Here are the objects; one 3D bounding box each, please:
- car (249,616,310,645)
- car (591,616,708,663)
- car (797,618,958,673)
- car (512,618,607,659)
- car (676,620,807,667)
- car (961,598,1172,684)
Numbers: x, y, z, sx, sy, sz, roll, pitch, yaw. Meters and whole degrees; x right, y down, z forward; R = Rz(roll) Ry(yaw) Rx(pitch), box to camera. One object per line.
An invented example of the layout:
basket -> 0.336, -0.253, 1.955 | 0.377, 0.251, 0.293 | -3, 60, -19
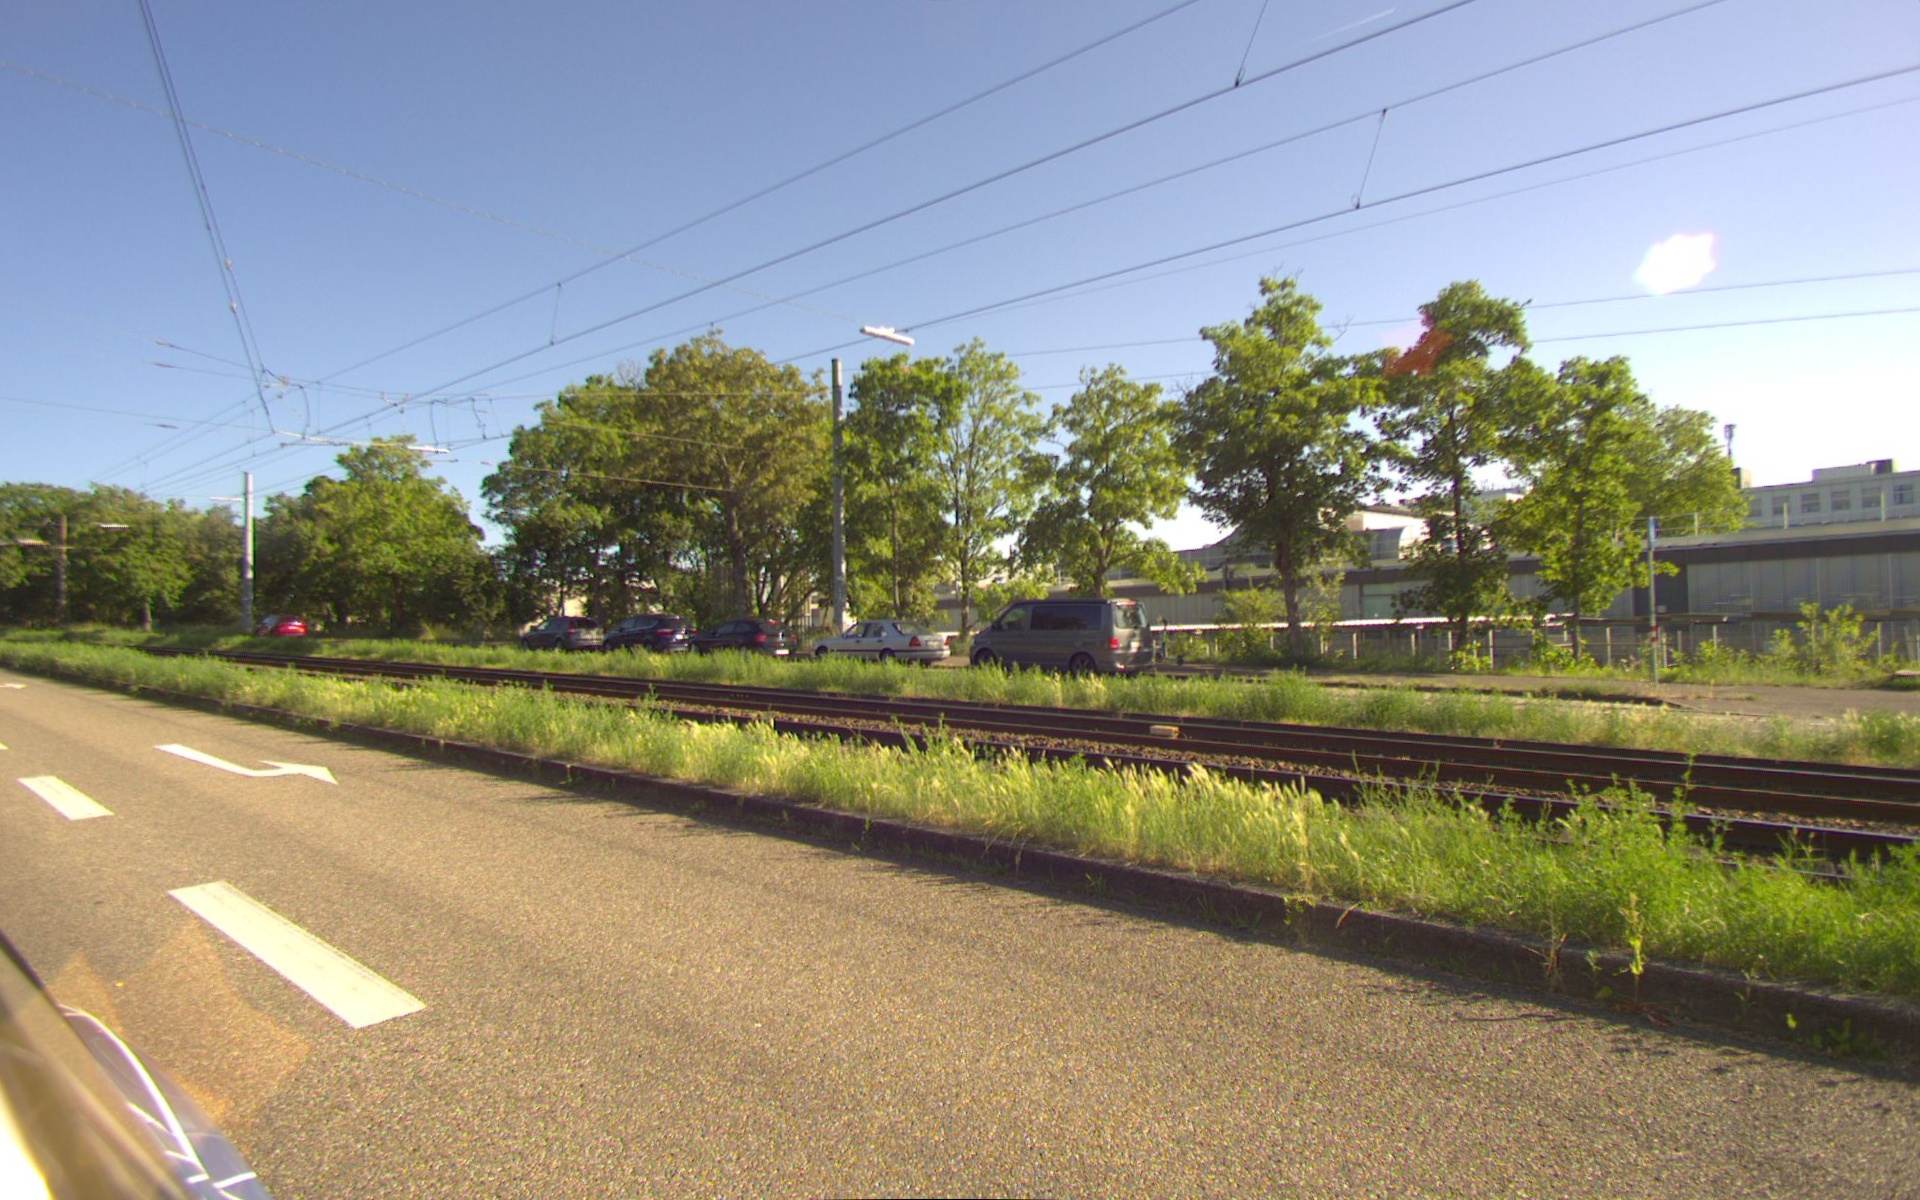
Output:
car -> -42.197, 1.879, 62.759 | 4.462, 1.715, 1.984 | -1, -1, 40
car -> -11.322, 1.406, 36.764 | 4.430, 1.586, 1.974 | -2, -1, 39
car -> -2.459, 1.288, 29.195 | 4.692, 1.448, 1.908 | -2, -1, 41
car -> -16.343, 1.524, 41.210 | 4.323, 1.505, 1.718 | -1, 0, 39
car -> -7.235, 1.403, 33.300 | 4.412, 1.448, 1.973 | -2, -1, 41
car -> 2.524, 0.966, 24.784 | 4.791, 1.905, 2.173 | -2, -1, 43
